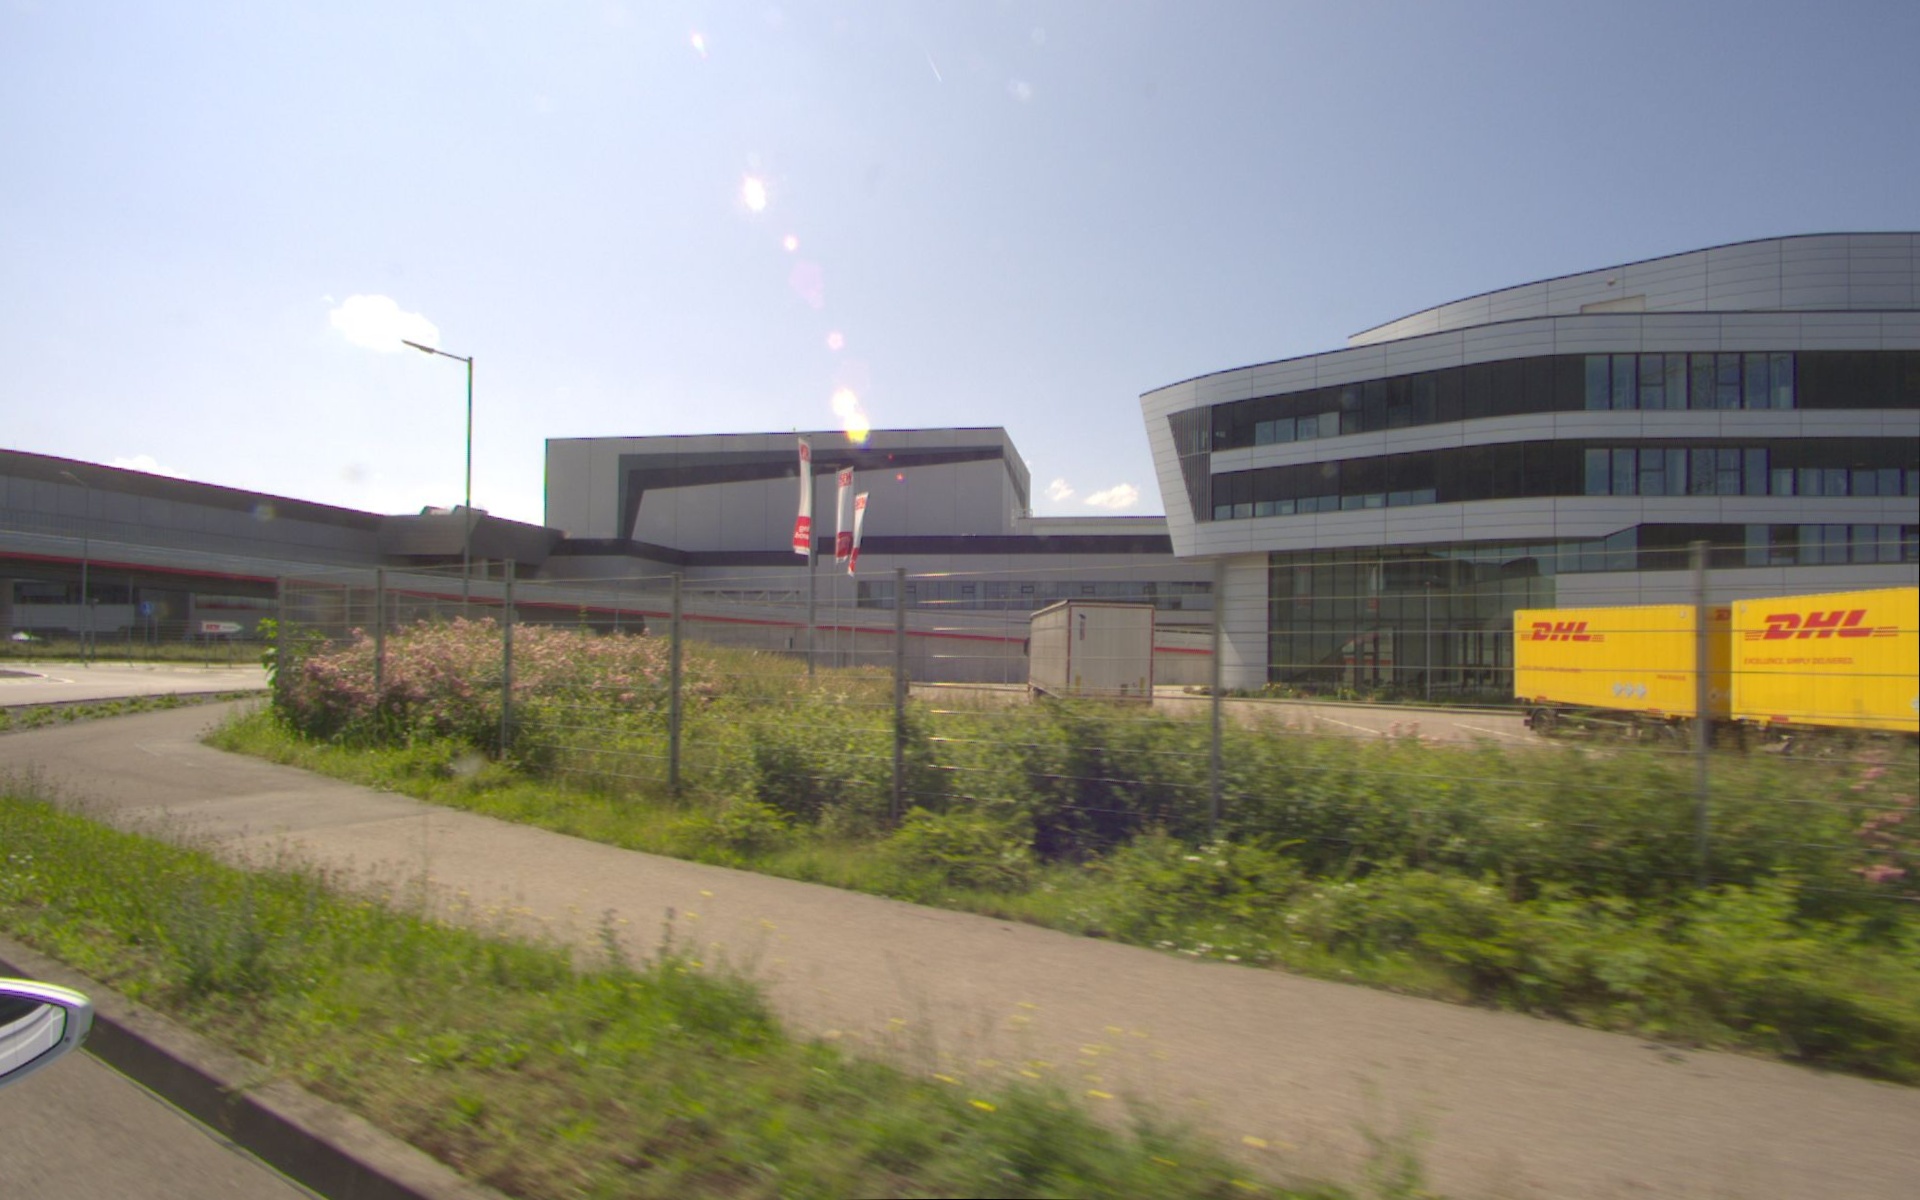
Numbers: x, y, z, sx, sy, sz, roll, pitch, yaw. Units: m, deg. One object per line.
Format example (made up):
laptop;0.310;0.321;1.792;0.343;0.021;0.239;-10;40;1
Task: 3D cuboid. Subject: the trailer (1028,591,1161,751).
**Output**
trailer;4.298;2.247;35.414;2.712;4.494;14.070;0;-2;0

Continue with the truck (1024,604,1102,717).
truck;4.279;2.479;42.460;2.712;4.479;5.293;0;-1;0

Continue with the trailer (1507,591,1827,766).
trailer;20.097;2.102;29.440;2.845;4.350;8.719;0;-2;-3

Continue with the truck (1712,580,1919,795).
truck;20.280;1.714;19.693;2.767;4.225;10.979;0;-2;1
